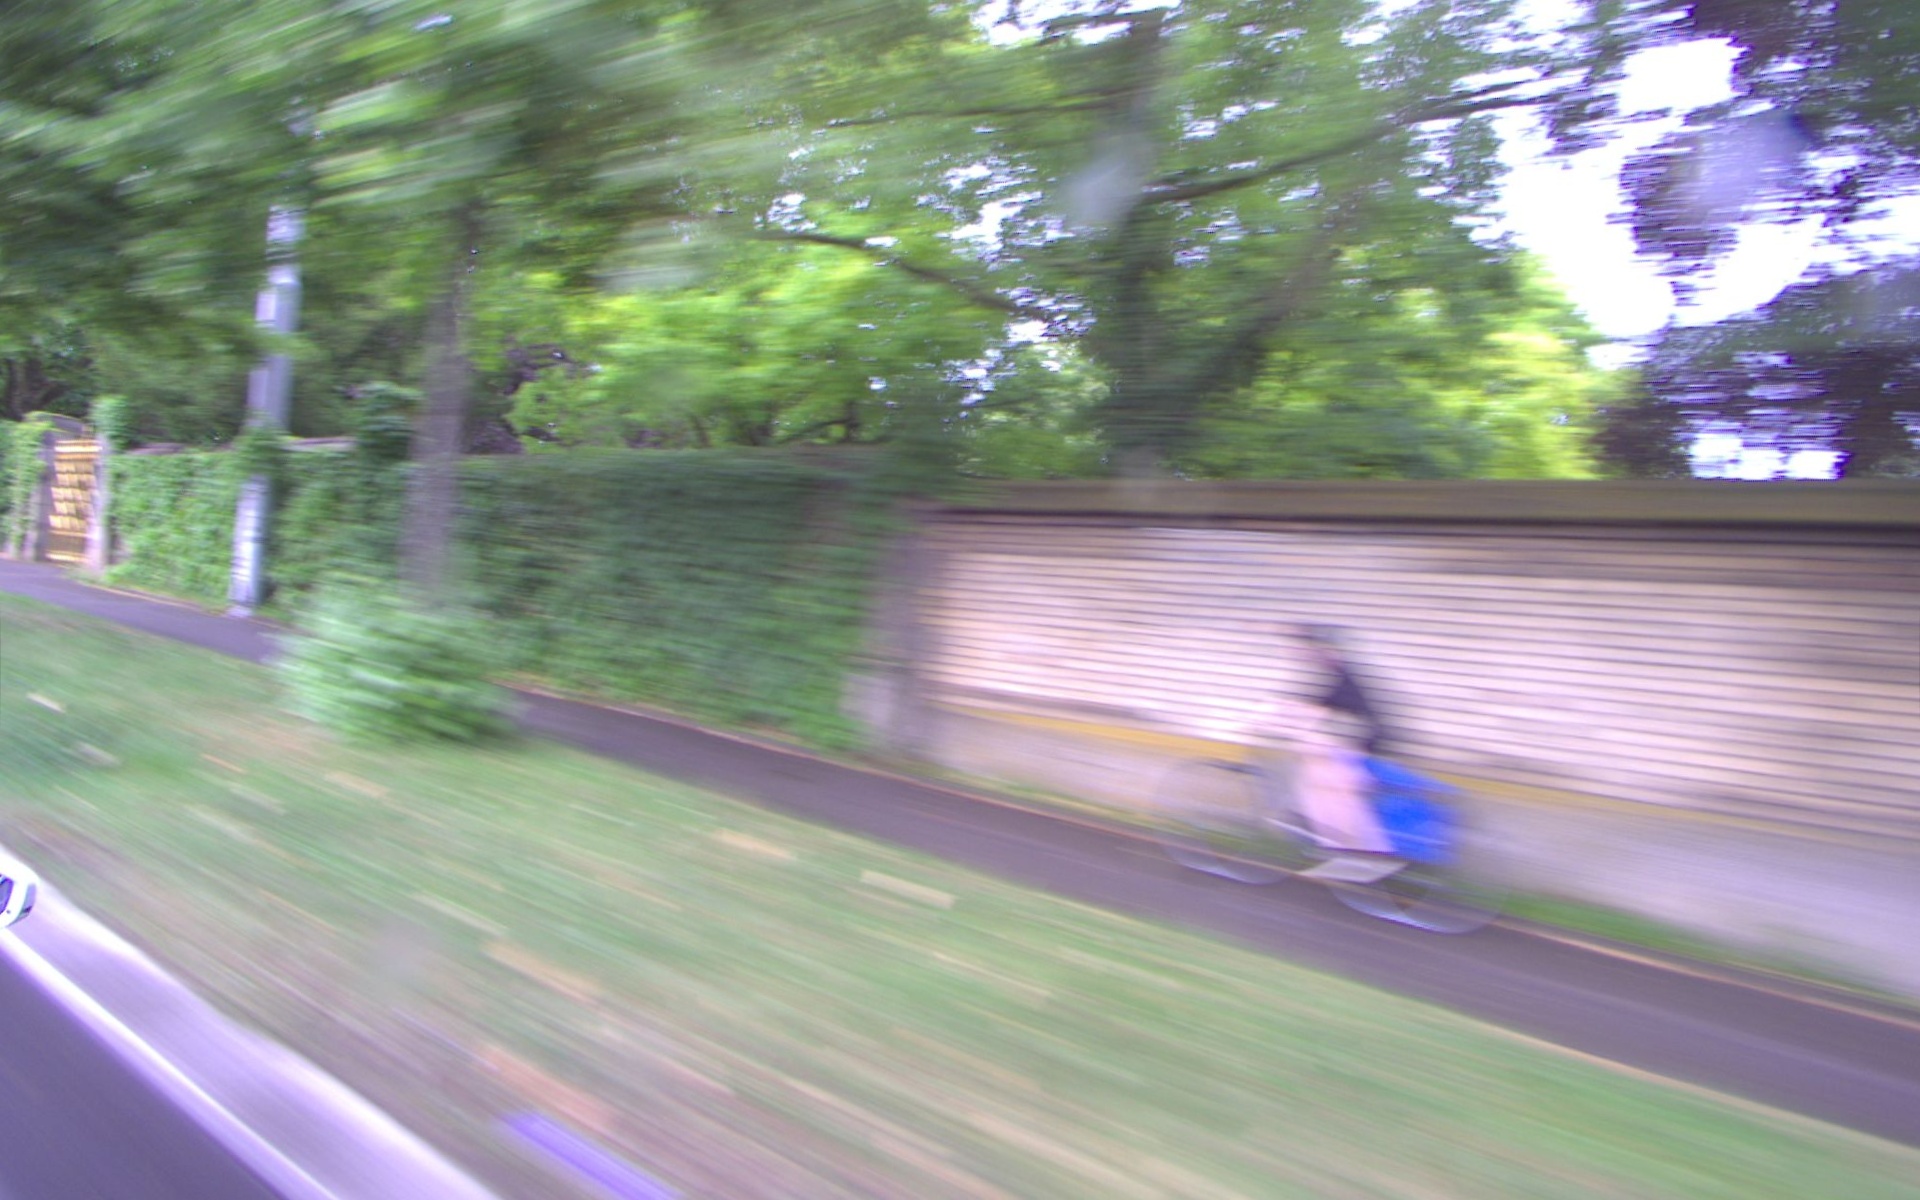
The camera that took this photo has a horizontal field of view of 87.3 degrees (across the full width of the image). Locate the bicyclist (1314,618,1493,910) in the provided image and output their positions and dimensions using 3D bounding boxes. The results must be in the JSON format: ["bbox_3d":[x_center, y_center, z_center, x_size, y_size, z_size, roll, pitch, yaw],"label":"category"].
[{"bbox_3d":[2.404,0.847,5.450,0.656,1.407,0.535,7,1,35],"label":"bicyclist"}]

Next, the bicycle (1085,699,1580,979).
[{"bbox_3d":[1.995,1.230,5.732,2.509,0.960,0.543,7,1,35],"label":"bicycle"}]
